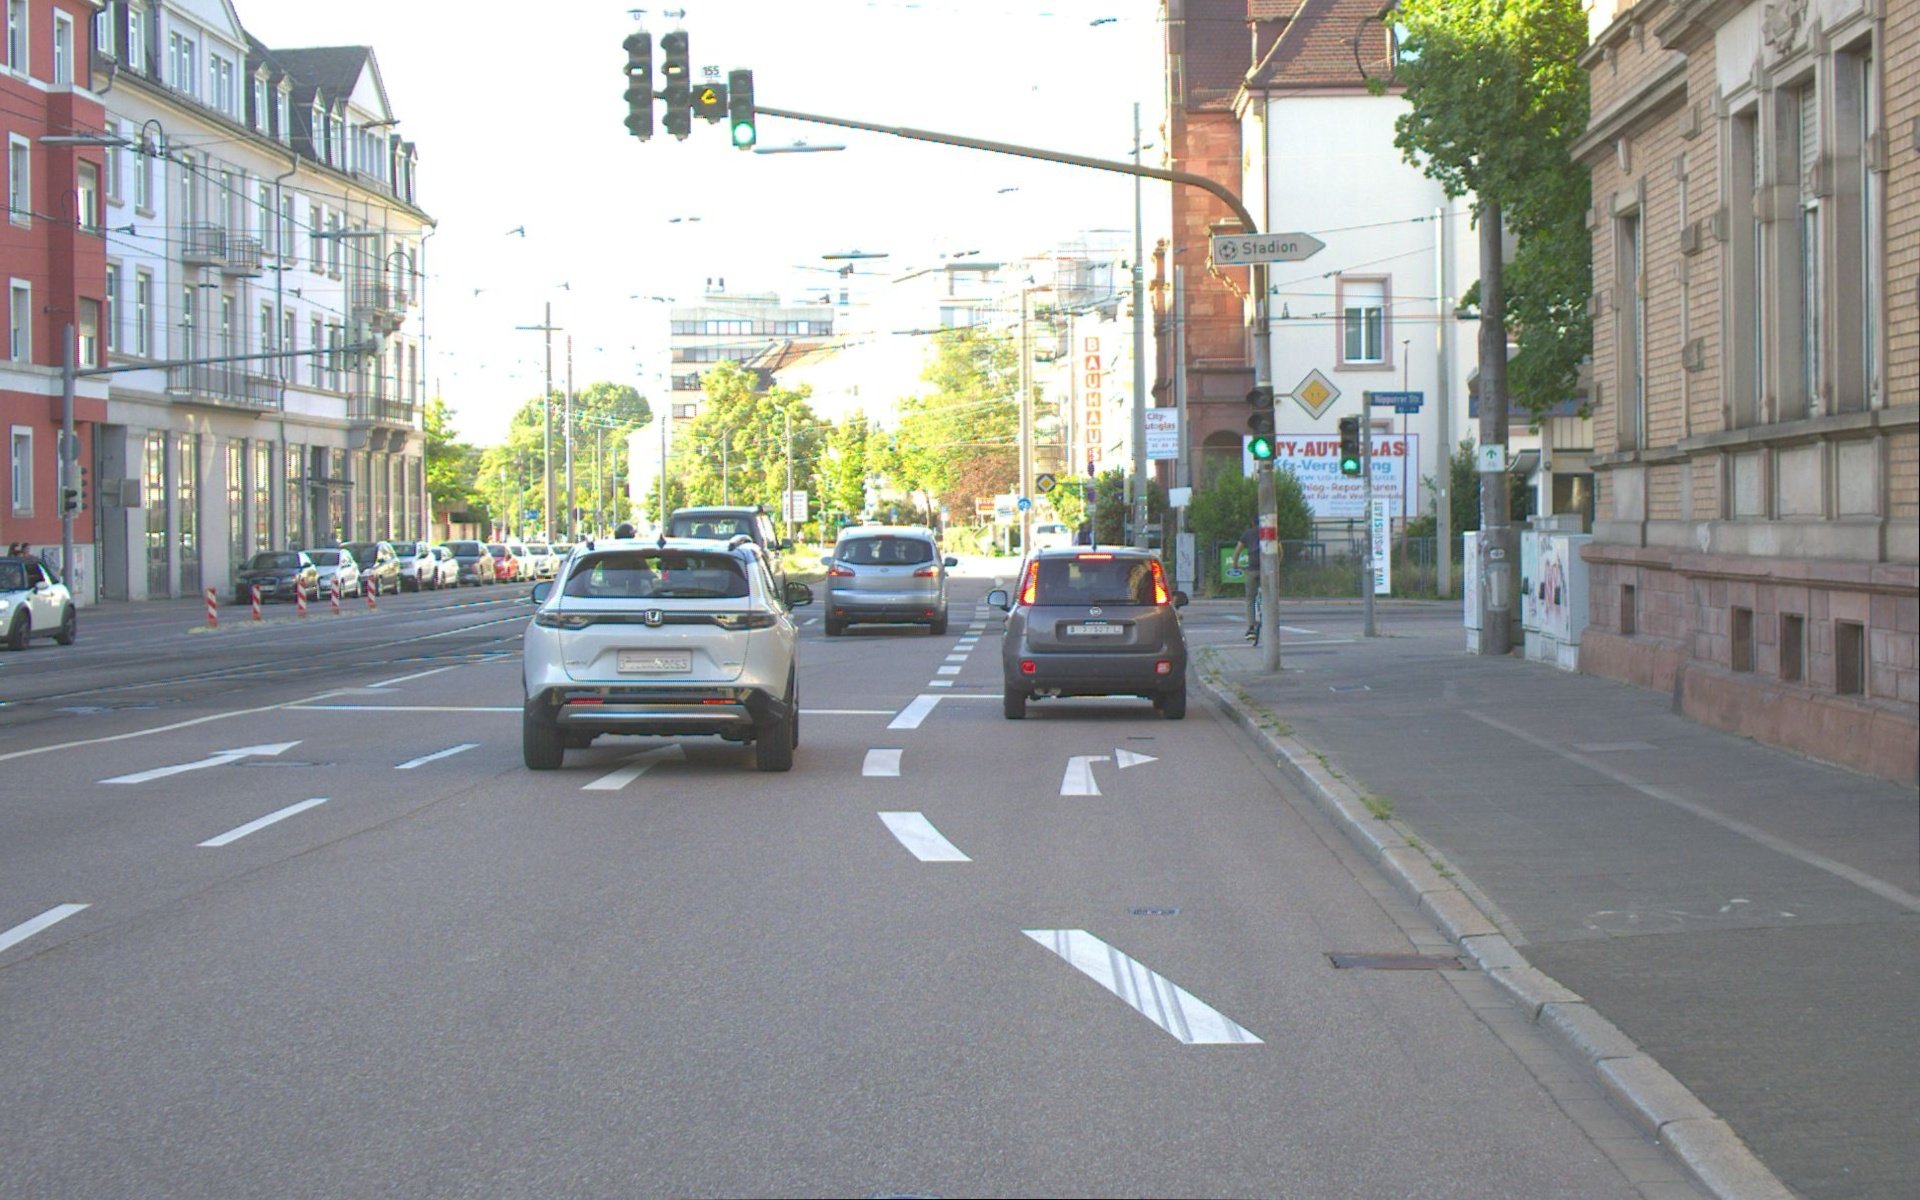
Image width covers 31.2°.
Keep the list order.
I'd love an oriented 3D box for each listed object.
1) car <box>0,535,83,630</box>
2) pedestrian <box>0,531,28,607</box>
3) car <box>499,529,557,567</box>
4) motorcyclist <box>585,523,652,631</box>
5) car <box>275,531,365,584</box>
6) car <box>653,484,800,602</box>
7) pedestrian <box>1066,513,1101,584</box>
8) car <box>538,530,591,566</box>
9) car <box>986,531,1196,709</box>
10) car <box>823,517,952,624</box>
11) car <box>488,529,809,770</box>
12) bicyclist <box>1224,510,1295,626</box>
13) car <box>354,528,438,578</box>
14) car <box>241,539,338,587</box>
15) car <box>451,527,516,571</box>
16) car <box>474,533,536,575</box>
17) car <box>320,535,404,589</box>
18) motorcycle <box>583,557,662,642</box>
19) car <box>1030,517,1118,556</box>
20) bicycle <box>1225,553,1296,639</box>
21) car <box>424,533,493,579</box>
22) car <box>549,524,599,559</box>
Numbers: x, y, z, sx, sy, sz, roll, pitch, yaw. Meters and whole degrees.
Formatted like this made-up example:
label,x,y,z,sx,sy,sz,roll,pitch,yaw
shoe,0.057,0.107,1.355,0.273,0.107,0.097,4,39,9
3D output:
label,x,y,z,sx,sy,sz,roll,pitch,yaw
car,-14.584,-0.286,51.954,1.726,1.370,3.534,-1,1,0
pedestrian,-20.752,-0.678,74.589,0.793,1.627,0.654,0,1,20
car,-17.466,-2.112,139.059,1.719,1.546,4.000,0,1,2
motorcyclist,-4.549,-0.318,45.780,0.777,1.418,0.891,0,1,1
car,-18.242,-1.225,98.159,1.719,1.447,4.000,-1,1,2
car,-4.102,-1.026,61.136,2.172,2.002,4.808,0,1,1
pedestrian,3.187,-1.335,88.777,0.875,1.818,1.184,0,1,3
car,-17.239,-2.272,149.916,1.719,1.546,4.000,-1,1,2
car,1.259,0.132,31.481,1.731,1.495,4.000,0,1,5
car,-1.080,-0.478,52.843,1.814,1.576,4.000,0,1,1
car,-2.087,0.275,24.085,1.947,1.523,4.090,0,1,-1
bicyclist,3.930,-0.426,45.195,0.834,1.520,0.994,0,1,-1
car,-18.003,-1.514,109.881,1.835,1.546,4.274,-1,1,2
car,-18.021,-1.007,92.568,1.719,1.228,4.000,-1,1,2
car,-17.452,-1.888,126.042,1.719,1.546,4.000,-1,1,2
car,-17.299,-1.760,130.787,1.719,1.546,4.000,-1,1,2
car,-17.908,-1.154,103.106,1.719,1.546,3.856,-1,1,2
motorcycle,-4.487,-0.022,45.844,0.777,1.078,2.281,0,1,1
car,5.899,-3.289,177.906,4.257,2.007,2.001,0,1,-7
bicycle,3.929,-0.060,45.033,0.771,1.082,1.871,0,1,0
car,-17.504,-1.556,120.086,1.719,1.546,4.000,-1,1,2
car,-17.490,-2.676,155.934,1.719,1.546,4.000,-1,1,2
